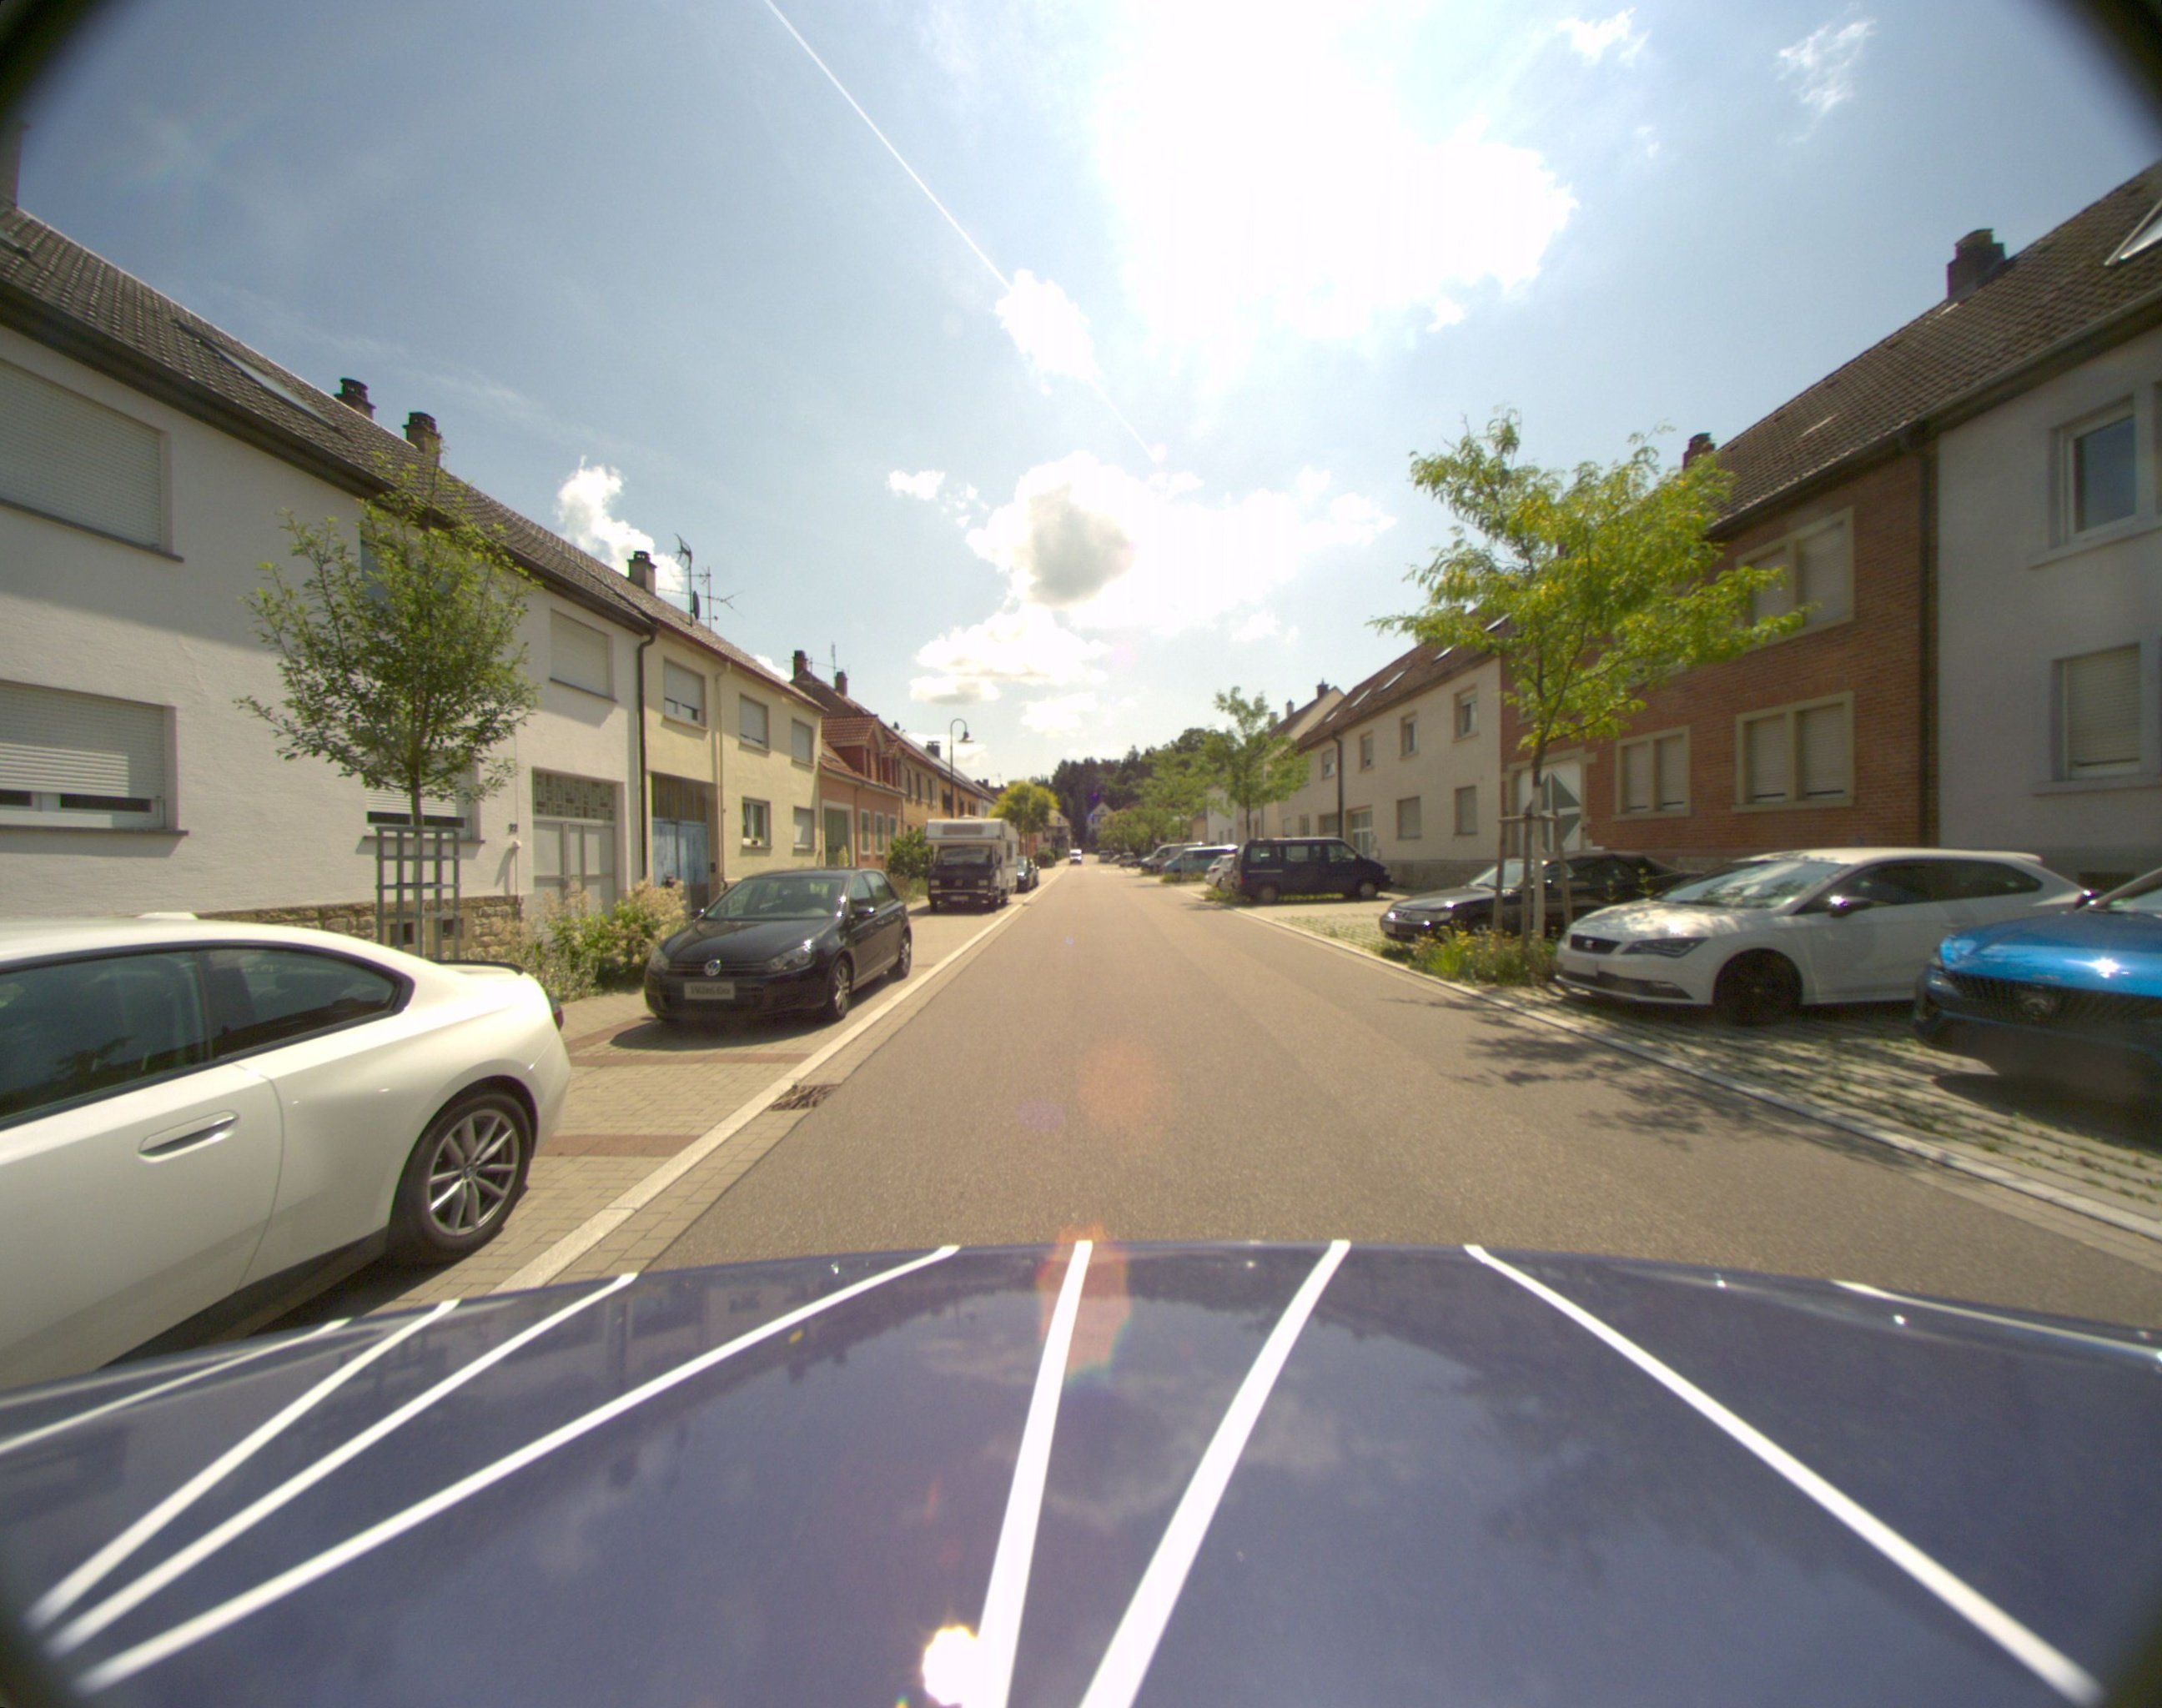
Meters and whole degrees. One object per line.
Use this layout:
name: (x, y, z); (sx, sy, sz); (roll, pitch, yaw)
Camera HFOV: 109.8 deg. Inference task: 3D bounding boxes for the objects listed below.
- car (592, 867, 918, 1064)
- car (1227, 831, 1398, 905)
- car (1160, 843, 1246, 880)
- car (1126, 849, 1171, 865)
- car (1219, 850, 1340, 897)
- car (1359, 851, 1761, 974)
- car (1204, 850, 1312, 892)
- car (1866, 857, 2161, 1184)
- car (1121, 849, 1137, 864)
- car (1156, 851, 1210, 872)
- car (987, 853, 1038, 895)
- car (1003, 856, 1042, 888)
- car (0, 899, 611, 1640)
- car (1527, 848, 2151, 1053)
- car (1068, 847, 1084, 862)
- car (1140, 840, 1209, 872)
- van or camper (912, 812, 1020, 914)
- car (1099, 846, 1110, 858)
car: (-3.164, 0.976, 8.376); (1.771, 1.520, 4.007); (-2, 0, 1)
car: (7.002, 0.422, 23.362); (4.624, 1.985, 1.953); (-2, 1, 2)
car: (7.076, 0.413, 44.422); (4.688, 1.896, 2.000); (-3, 1, 1)
car: (7.315, 0.322, 82.685); (4.598, 1.508, 1.901); (-2, 0, 0)
car: (7.165, 0.680, 27.702); (3.925, 1.480, 1.773); (-2, 0, 2)
car: (6.572, 0.764, 10.800); (4.535, 1.417, 1.795); (-2, 0, 0)
car: (7.051, 0.681, 30.550); (3.925, 1.480, 1.773); (-2, 0, 2)
car: (7.322, 0.749, 4.131); (4.416, 1.469, 1.775); (-2, 0, -3)
car: (5.949, 0.348, 94.588); (1.844, 1.737, 4.687); (-3, -1, 2)
car: (7.678, 0.562, 57.169); (3.792, 1.377, 1.725); (-3, 1, 1)
car: (-3.007, 0.843, 34.151); (1.771, 1.695, 4.325); (-2, 0, 1)
car: (-2.980, 0.898, 39.529); (1.771, 1.480, 4.295); (-2, 0, -1)
car: (-3.265, 0.991, 1.552); (1.837, 1.457, 4.519); (-2, 0, -1)
car: (6.691, 0.771, 7.037); (4.064, 1.469, 1.775); (-2, 0, -2)
car: (-0.822, 0.047, 127.930); (2.489, 2.306, 5.599); (-3, 1, 0)
car: (7.437, 0.183, 60.892); (5.180, 2.275, 2.157); (-3, 1, -2)
van or camper: (-3.391, 0.252, 23.763); (2.479, 2.793, 5.790); (0, 0, 0)
car: (4.285, -0.374, 138.925); (1.999, 1.968, 3.999); (-1, 1, 0)
